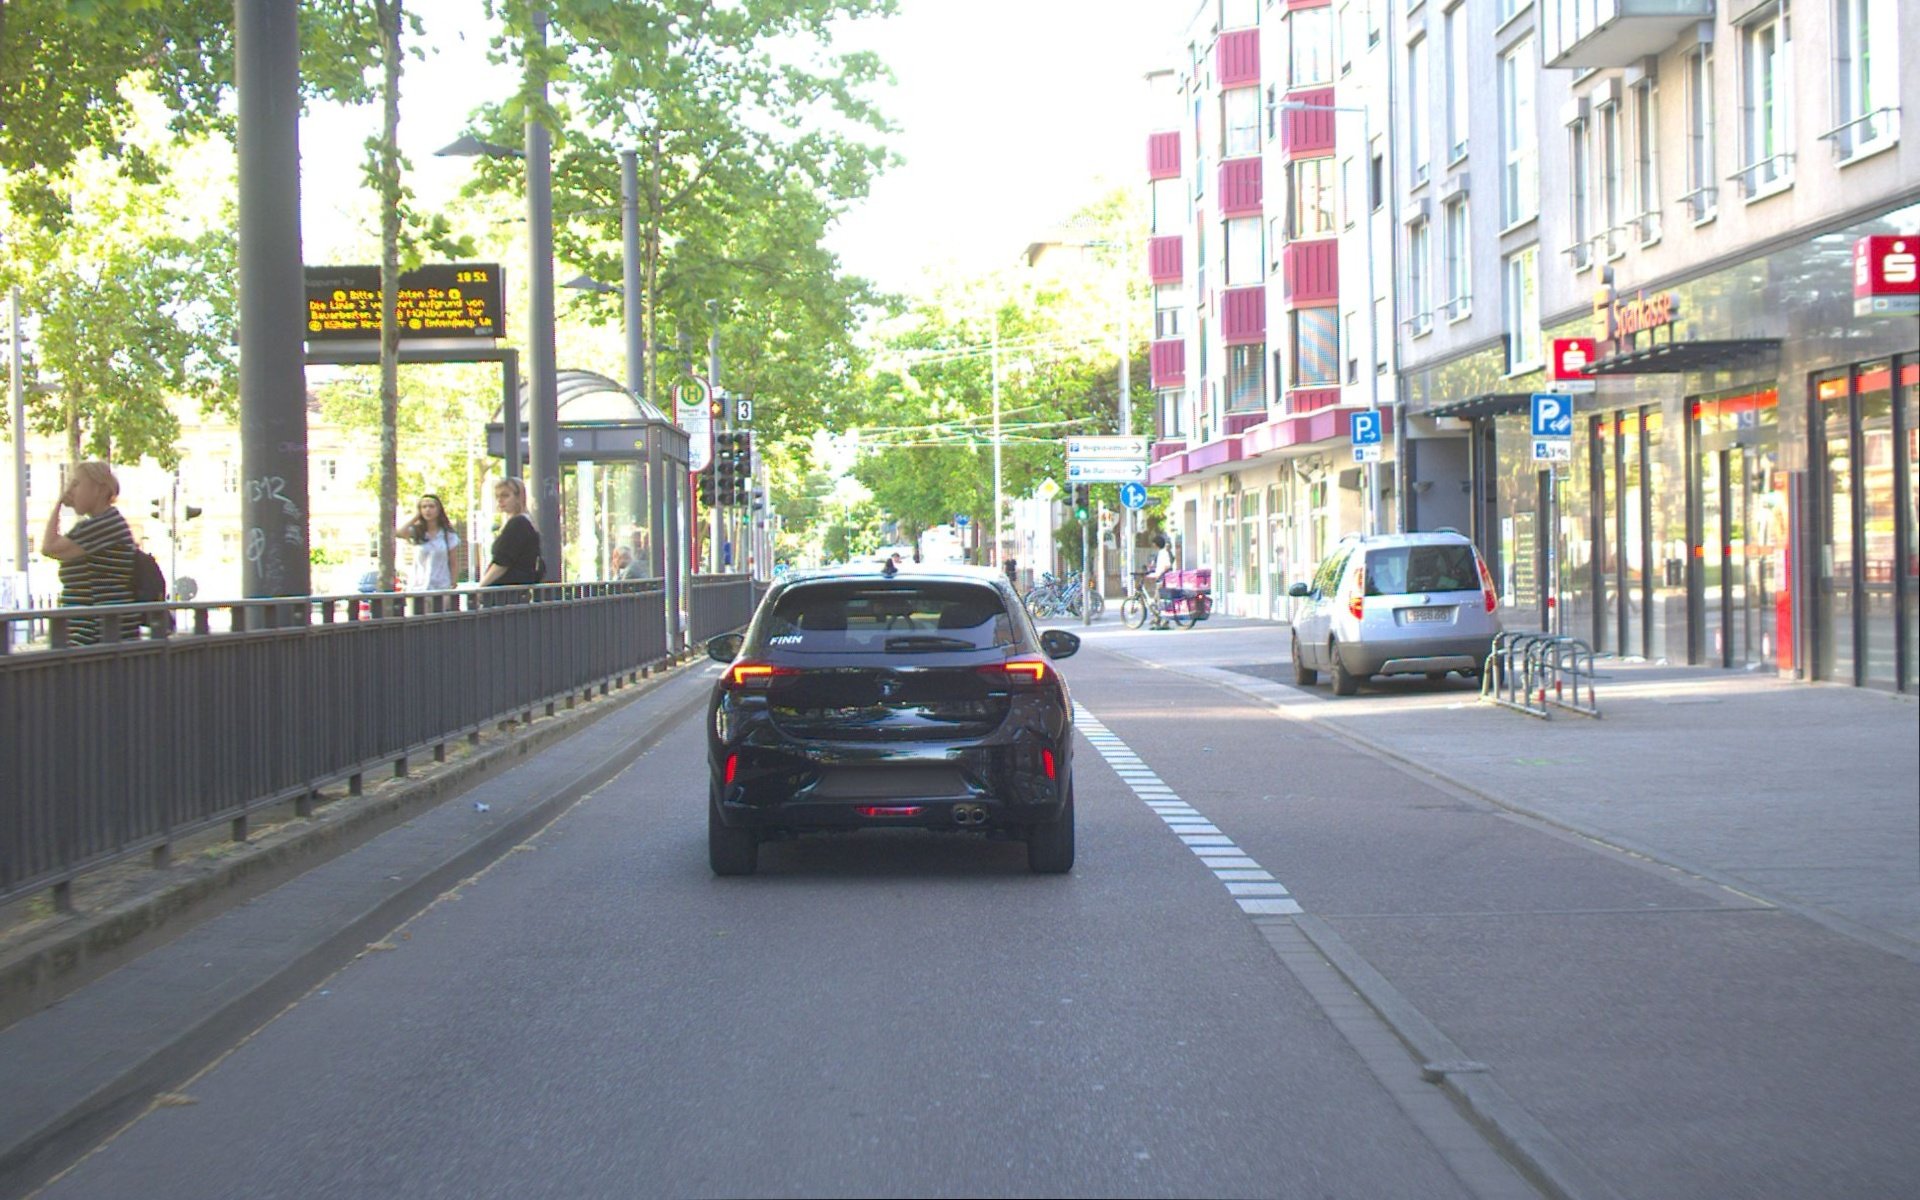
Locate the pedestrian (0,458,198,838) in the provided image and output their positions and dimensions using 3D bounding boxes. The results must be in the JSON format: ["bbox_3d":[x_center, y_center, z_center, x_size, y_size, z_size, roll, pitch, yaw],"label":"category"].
[{"bbox_3d":[-3.968,0.209,15.792,0.729,1.696,0.863,0,0,1],"label":"pedestrian"}]

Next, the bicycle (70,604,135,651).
[{"bbox_3d":[-18.011,0.570,72.269,0.813,0.943,1.725,-1,1,4],"label":"bicycle"}]

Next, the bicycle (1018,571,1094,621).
[{"bbox_3d":[2.344,-0.091,83.820,1.802,1.195,0.545,-1,-1,3],"label":"bicycle"}]

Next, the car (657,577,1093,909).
[{"bbox_3d":[-0.403,0.618,17.266,1.905,1.420,4.215,-1,1,-1],"label":"car"}]

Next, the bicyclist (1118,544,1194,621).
[{"bbox_3d":[3.960,-0.357,69.433,1.057,1.535,1.078,-1,0,-40],"label":"bicyclist"}]

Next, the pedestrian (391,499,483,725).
[{"bbox_3d":[-4.367,0.094,28.755,0.645,1.865,0.753,0,0,0],"label":"pedestrian"}]

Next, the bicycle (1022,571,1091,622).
[{"bbox_3d":[2.333,-0.095,83.072,1.623,1.195,0.496,-1,0,3],"label":"bicycle"}]

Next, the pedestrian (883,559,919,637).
[{"bbox_3d":[-1.304,-0.047,76.682,0.734,1.741,0.712,0,1,3],"label":"pedestrian"}]

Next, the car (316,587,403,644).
[{"bbox_3d":[-21.597,0.556,123.779,1.994,1.941,4.423,-1,1,5],"label":"car"}]

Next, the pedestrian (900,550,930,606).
[{"bbox_3d":[-1.637,-0.784,124.355,1.036,2.017,1.212,-1,0,-3],"label":"pedestrian"}]

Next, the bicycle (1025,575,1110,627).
[{"bbox_3d":[2.531,0.022,80.887,1.939,1.166,0.572,-1,0,-4],"label":"bicycle"}]

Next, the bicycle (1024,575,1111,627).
[{"bbox_3d":[2.551,0.032,81.530,1.976,1.195,0.591,-1,0,-6],"label":"bicycle"}]

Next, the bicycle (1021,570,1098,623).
[{"bbox_3d":[2.397,-0.085,82.502,1.831,1.216,0.496,-1,0,2],"label":"bicycle"}]

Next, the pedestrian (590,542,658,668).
[{"bbox_3d":[-3.561,0.052,36.472,0.626,1.315,0.801,-1,0,0],"label":"pedestrian"}]

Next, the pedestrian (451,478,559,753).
[{"bbox_3d":[-3.167,0.102,23.976,0.646,1.880,0.661,-1,0,-1],"label":"pedestrian"}]

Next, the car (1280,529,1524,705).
[{"bbox_3d":[4.532,0.150,35.843,1.832,1.617,4.285,-4,0,-1],"label":"car"}]

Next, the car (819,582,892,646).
[{"bbox_3d":[-2.721,0.350,90.273,1.832,1.617,4.285,0,0,-1],"label":"car"}]

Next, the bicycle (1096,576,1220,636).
[{"bbox_3d":[3.990,0.115,69.409,0.960,1.179,2.597,-1,1,-41],"label":"bicycle"}]

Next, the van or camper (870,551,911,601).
[{"bbox_3d":[-4.265,-1.483,211.733,2.486,2.983,5.434,1,0,-1],"label":"van or camper"}]

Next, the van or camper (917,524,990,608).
[{"bbox_3d":[-0.312,-1.350,138.133,2.375,3.114,7.551,-4,1,-3],"label":"van or camper"}]

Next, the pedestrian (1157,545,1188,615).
[{"bbox_3d":[5.678,-0.538,91.746,0.722,1.851,0.801,-1,0,-2],"label":"pedestrian"}]
